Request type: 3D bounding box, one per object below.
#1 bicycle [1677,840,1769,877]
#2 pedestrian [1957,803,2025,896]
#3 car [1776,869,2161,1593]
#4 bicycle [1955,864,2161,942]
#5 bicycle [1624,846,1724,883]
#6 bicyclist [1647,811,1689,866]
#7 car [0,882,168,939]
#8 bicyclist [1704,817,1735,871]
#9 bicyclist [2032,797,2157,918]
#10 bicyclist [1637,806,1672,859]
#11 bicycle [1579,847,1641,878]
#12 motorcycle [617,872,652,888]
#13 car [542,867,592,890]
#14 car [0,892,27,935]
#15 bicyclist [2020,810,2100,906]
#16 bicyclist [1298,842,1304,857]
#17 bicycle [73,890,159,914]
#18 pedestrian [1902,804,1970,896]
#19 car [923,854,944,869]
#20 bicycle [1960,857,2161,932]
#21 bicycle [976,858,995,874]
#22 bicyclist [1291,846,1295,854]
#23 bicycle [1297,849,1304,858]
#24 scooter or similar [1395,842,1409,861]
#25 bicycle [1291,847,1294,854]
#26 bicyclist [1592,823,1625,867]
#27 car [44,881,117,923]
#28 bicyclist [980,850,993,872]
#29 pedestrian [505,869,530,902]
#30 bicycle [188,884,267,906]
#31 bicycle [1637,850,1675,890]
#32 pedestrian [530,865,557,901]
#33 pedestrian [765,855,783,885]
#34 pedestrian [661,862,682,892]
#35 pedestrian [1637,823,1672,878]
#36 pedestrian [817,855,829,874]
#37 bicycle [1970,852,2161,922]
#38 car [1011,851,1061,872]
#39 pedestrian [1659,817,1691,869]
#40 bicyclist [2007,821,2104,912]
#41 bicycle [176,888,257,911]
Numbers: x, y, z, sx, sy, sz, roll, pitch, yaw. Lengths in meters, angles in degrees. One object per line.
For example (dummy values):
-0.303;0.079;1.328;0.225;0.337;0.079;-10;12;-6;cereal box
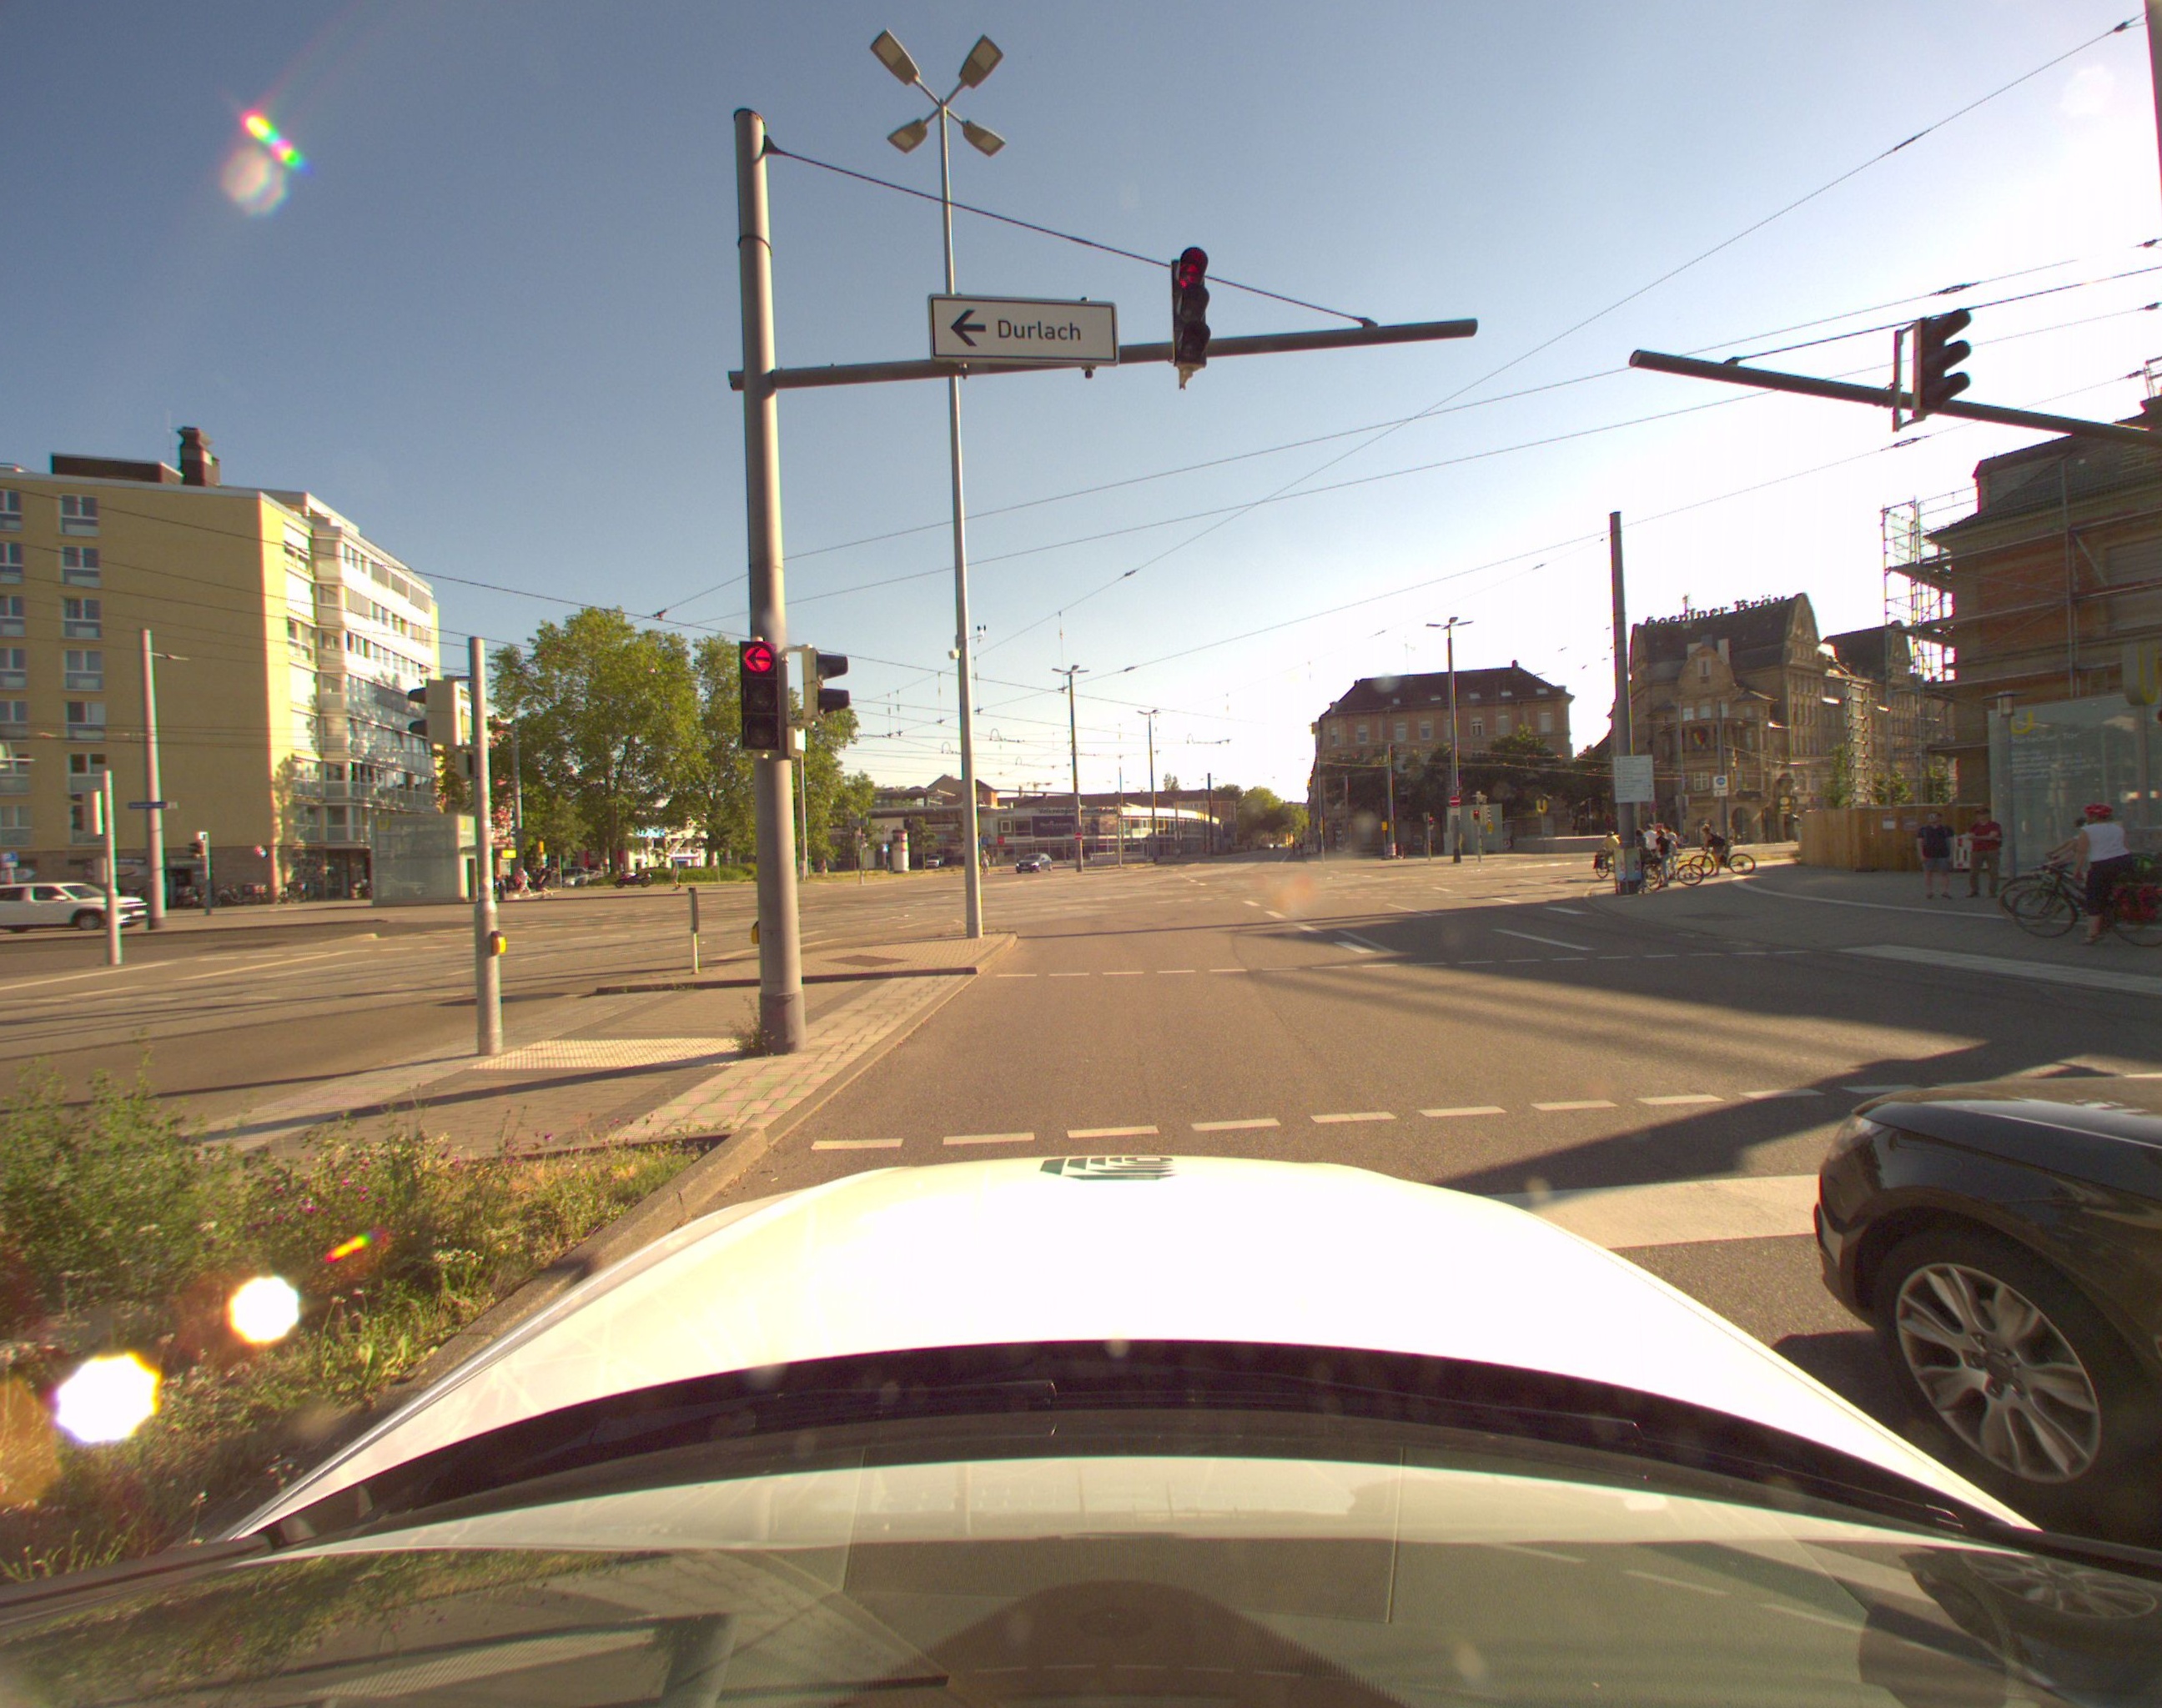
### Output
21.058;0.146;26.775;2.290;1.049;0.539;-5;-1;36;bicycle
18.203;-0.092;16.299;0.672;1.807;0.680;0;-1;-19;pedestrian
2.890;0.735;0.490;1.617;1.404;4.001;0;0;2;car
13.447;0.620;11.178;0.656;0.963;2.033;0;-1;-3;bicycle
17.257;0.312;23.776;2.290;1.049;0.705;-1;-1;32;bicycle
17.174;-0.446;23.832;0.935;1.557;0.715;-1;-1;32;bicyclist
-32.519;1.772;26.049;4.003;1.662;1.773;0;-1;-22;car
21.007;-0.319;26.811;0.785;1.779;0.526;-1;-1;37;bicyclist
13.481;0.042;10.858;0.664;1.553;0.794;0;-1;-3;bicyclist
16.057;-0.591;22.838;0.701;1.439;0.953;-1;-1;30;bicyclist
19.204;0.293;29.631;0.533;1.049;2.315;0;1;-6;bicycle
-27.268;1.578;49.760;1.779;0.914;0.675;0;-1;-19;motorcycle
-37.310;1.720;59.243;1.772;1.567;3.983;0;-1;-12;car
-47.031;2.543;34.924;3.948;1.706;2.013;-1;-1;35;car
15.383;0.066;12.804;0.619;1.454;0.667;0;-1;-27;bicyclist
23.813;-0.492;88.300;0.516;1.700;0.517;0;-1;4;bicyclist
-50.284;2.476;42.453;3.041;1.151;0.637;0;-1;-16;bicycle
17.334;-0.084;16.519;0.672;1.807;0.680;-3;0;-19;pedestrian
-18.085;0.879;99.926;1.988;1.750;3.997;0;-1;-1;car
14.443;0.550;12.004;0.657;0.963;2.033;-4;0;-3;bicycle
-7.048;0.868;59.956;0.607;1.189;1.878;-1;-1;19;bicycle
27.783;-0.498;106.792;0.405;1.116;0.400;-1;-1;13;bicyclist
23.800;-0.097;88.151;0.652;0.952;1.607;-1;-1;17;bicycle
24.748;-0.177;62.768;0.780;1.376;1.916;-1;-1;16;scooter or similar
27.843;-0.418;107.060;0.407;0.941;1.852;-1;-1;15;bicycle
19.196;-0.312;29.673;0.514;1.557;0.945;0;-1;-6;bicyclist
-44.268;2.088;36.030;3.948;1.706;1.730;-1;-1;35;car
-6.985;0.524;60.158;0.593;1.615;0.827;-1;-1;19;bicyclist
-30.213;1.687;43.678;0.790;1.706;0.760;-1;-1;9;pedestrian
-46.375;2.218;44.279;3.041;1.151;0.637;0;-1;-16;bicycle
16.054;0.416;22.791;0.692;1.049;2.335;0;1;31;bicycle
-26.235;1.407;39.738;0.790;1.706;0.760;-1;-1;9;pedestrian
-19.181;0.997;50.918;0.790;1.886;0.760;-1;-1;9;pedestrian
-23.549;1.296;46.879;0.790;1.706;0.760;-1;-1;9;pedestrian
21.291;-0.111;30.253;0.730;2.014;0.760;0;-1;-6;pedestrian
-23.126;0.951;72.984;0.854;1.694;0.497;0;-1;-1;pedestrian
15.444;0.483;12.701;0.661;0.963;2.018;-4;1;-25;bicycle
-3.400;0.564;62.005;1.975;1.585;4.024;-1;-1;29;car
22.161;-0.406;30.383;0.646;1.922;0.689;0;-1;-6;pedestrian
14.426;0.180;12.073;0.614;1.315;0.673;0;-1;-3;bicyclist
-46.239;2.422;43.582;3.041;1.151;0.637;0;-1;-16;bicycle
